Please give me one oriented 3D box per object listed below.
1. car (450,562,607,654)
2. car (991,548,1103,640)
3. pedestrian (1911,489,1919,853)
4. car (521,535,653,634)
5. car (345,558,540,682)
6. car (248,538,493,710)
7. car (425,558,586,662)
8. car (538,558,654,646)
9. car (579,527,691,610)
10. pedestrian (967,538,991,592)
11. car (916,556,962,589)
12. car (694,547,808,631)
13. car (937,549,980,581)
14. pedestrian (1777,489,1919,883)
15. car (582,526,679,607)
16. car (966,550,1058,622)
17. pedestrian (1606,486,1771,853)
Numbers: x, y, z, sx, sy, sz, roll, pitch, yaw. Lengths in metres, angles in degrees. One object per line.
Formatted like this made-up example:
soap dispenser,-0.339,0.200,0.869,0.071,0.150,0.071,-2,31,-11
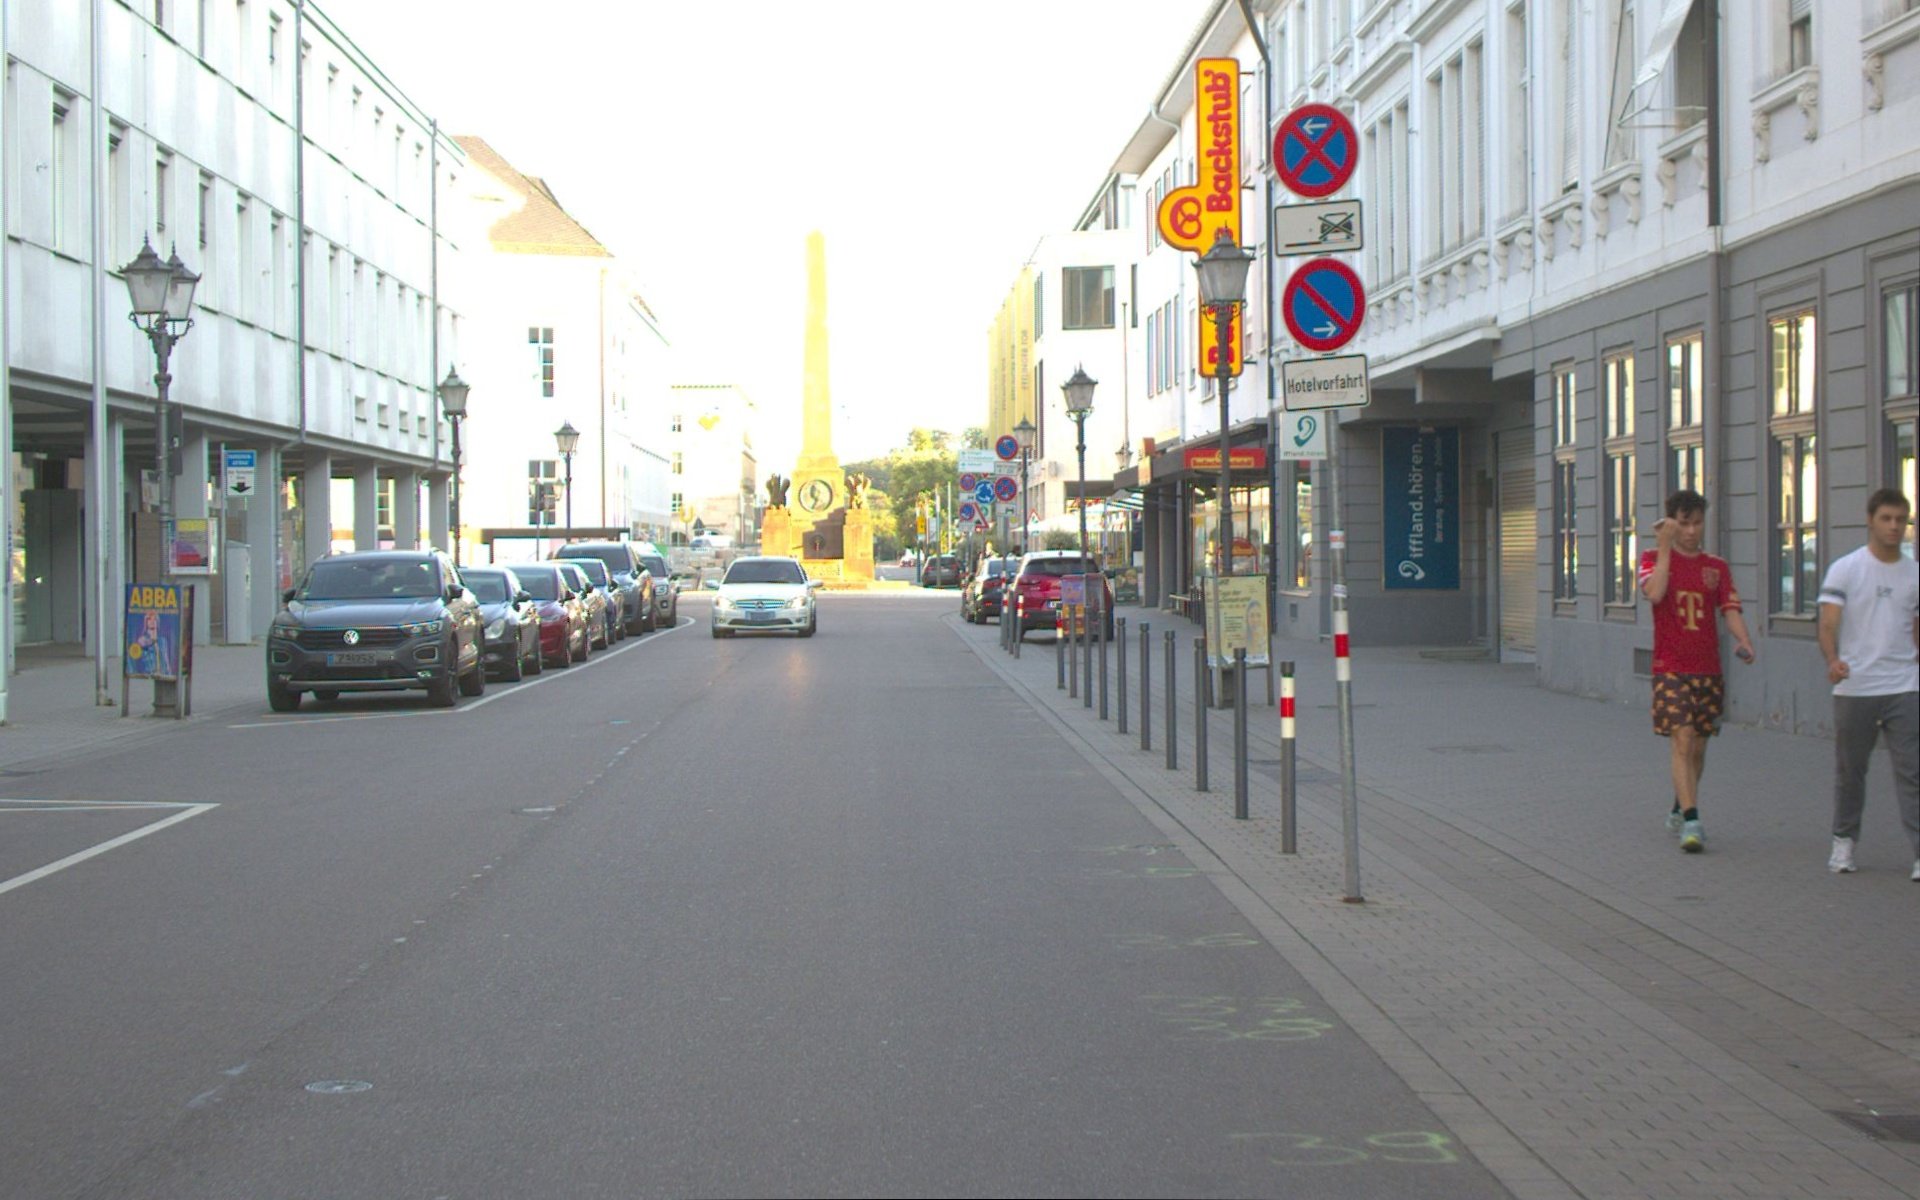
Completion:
car,-6.660,0.090,53.391,1.993,1.349,4.000,0,1,-1
car,1.456,-0.128,58.945,1.759,1.518,3.677,0,1,-1
pedestrian,4.893,0.337,15.968,0.713,1.724,0.873,-1,1,1
car,-6.936,-0.308,64.345,1.993,1.722,4.516,-2,1,-1
car,-6.262,0.206,41.974,1.785,1.404,4.088,-1,1,-1
car,-5.894,0.200,34.807,1.785,1.609,4.166,-1,1,-1
car,-6.475,0.113,49.358,1.785,1.404,4.088,-1,1,-1
car,-6.166,0.004,58.606,1.673,1.395,4.000,-1,1,-2
car,-6.722,-0.668,71.451,1.993,1.656,4.000,0,1,-1
pedestrian,0.586,-1.071,104.681,0.690,1.642,0.696,-1,1,-2
car,-0.930,-1.248,154.436,1.993,1.459,4.000,-1,1,0
car,-3.665,-0.222,60.934,1.785,1.404,4.088,-1,1,-1
car,-0.081,-1.667,162.917,1.993,1.459,4.000,-1,1,0
pedestrian,4.154,0.371,15.502,0.748,1.724,0.881,0,1,2
car,-7.720,-0.796,80.176,1.993,1.809,4.785,0,1,-8
car,1.067,-0.320,72.790,1.801,1.459,4.117,0,1,-1
pedestrian,3.635,0.332,17.198,0.620,1.783,0.913,-1,1,0
